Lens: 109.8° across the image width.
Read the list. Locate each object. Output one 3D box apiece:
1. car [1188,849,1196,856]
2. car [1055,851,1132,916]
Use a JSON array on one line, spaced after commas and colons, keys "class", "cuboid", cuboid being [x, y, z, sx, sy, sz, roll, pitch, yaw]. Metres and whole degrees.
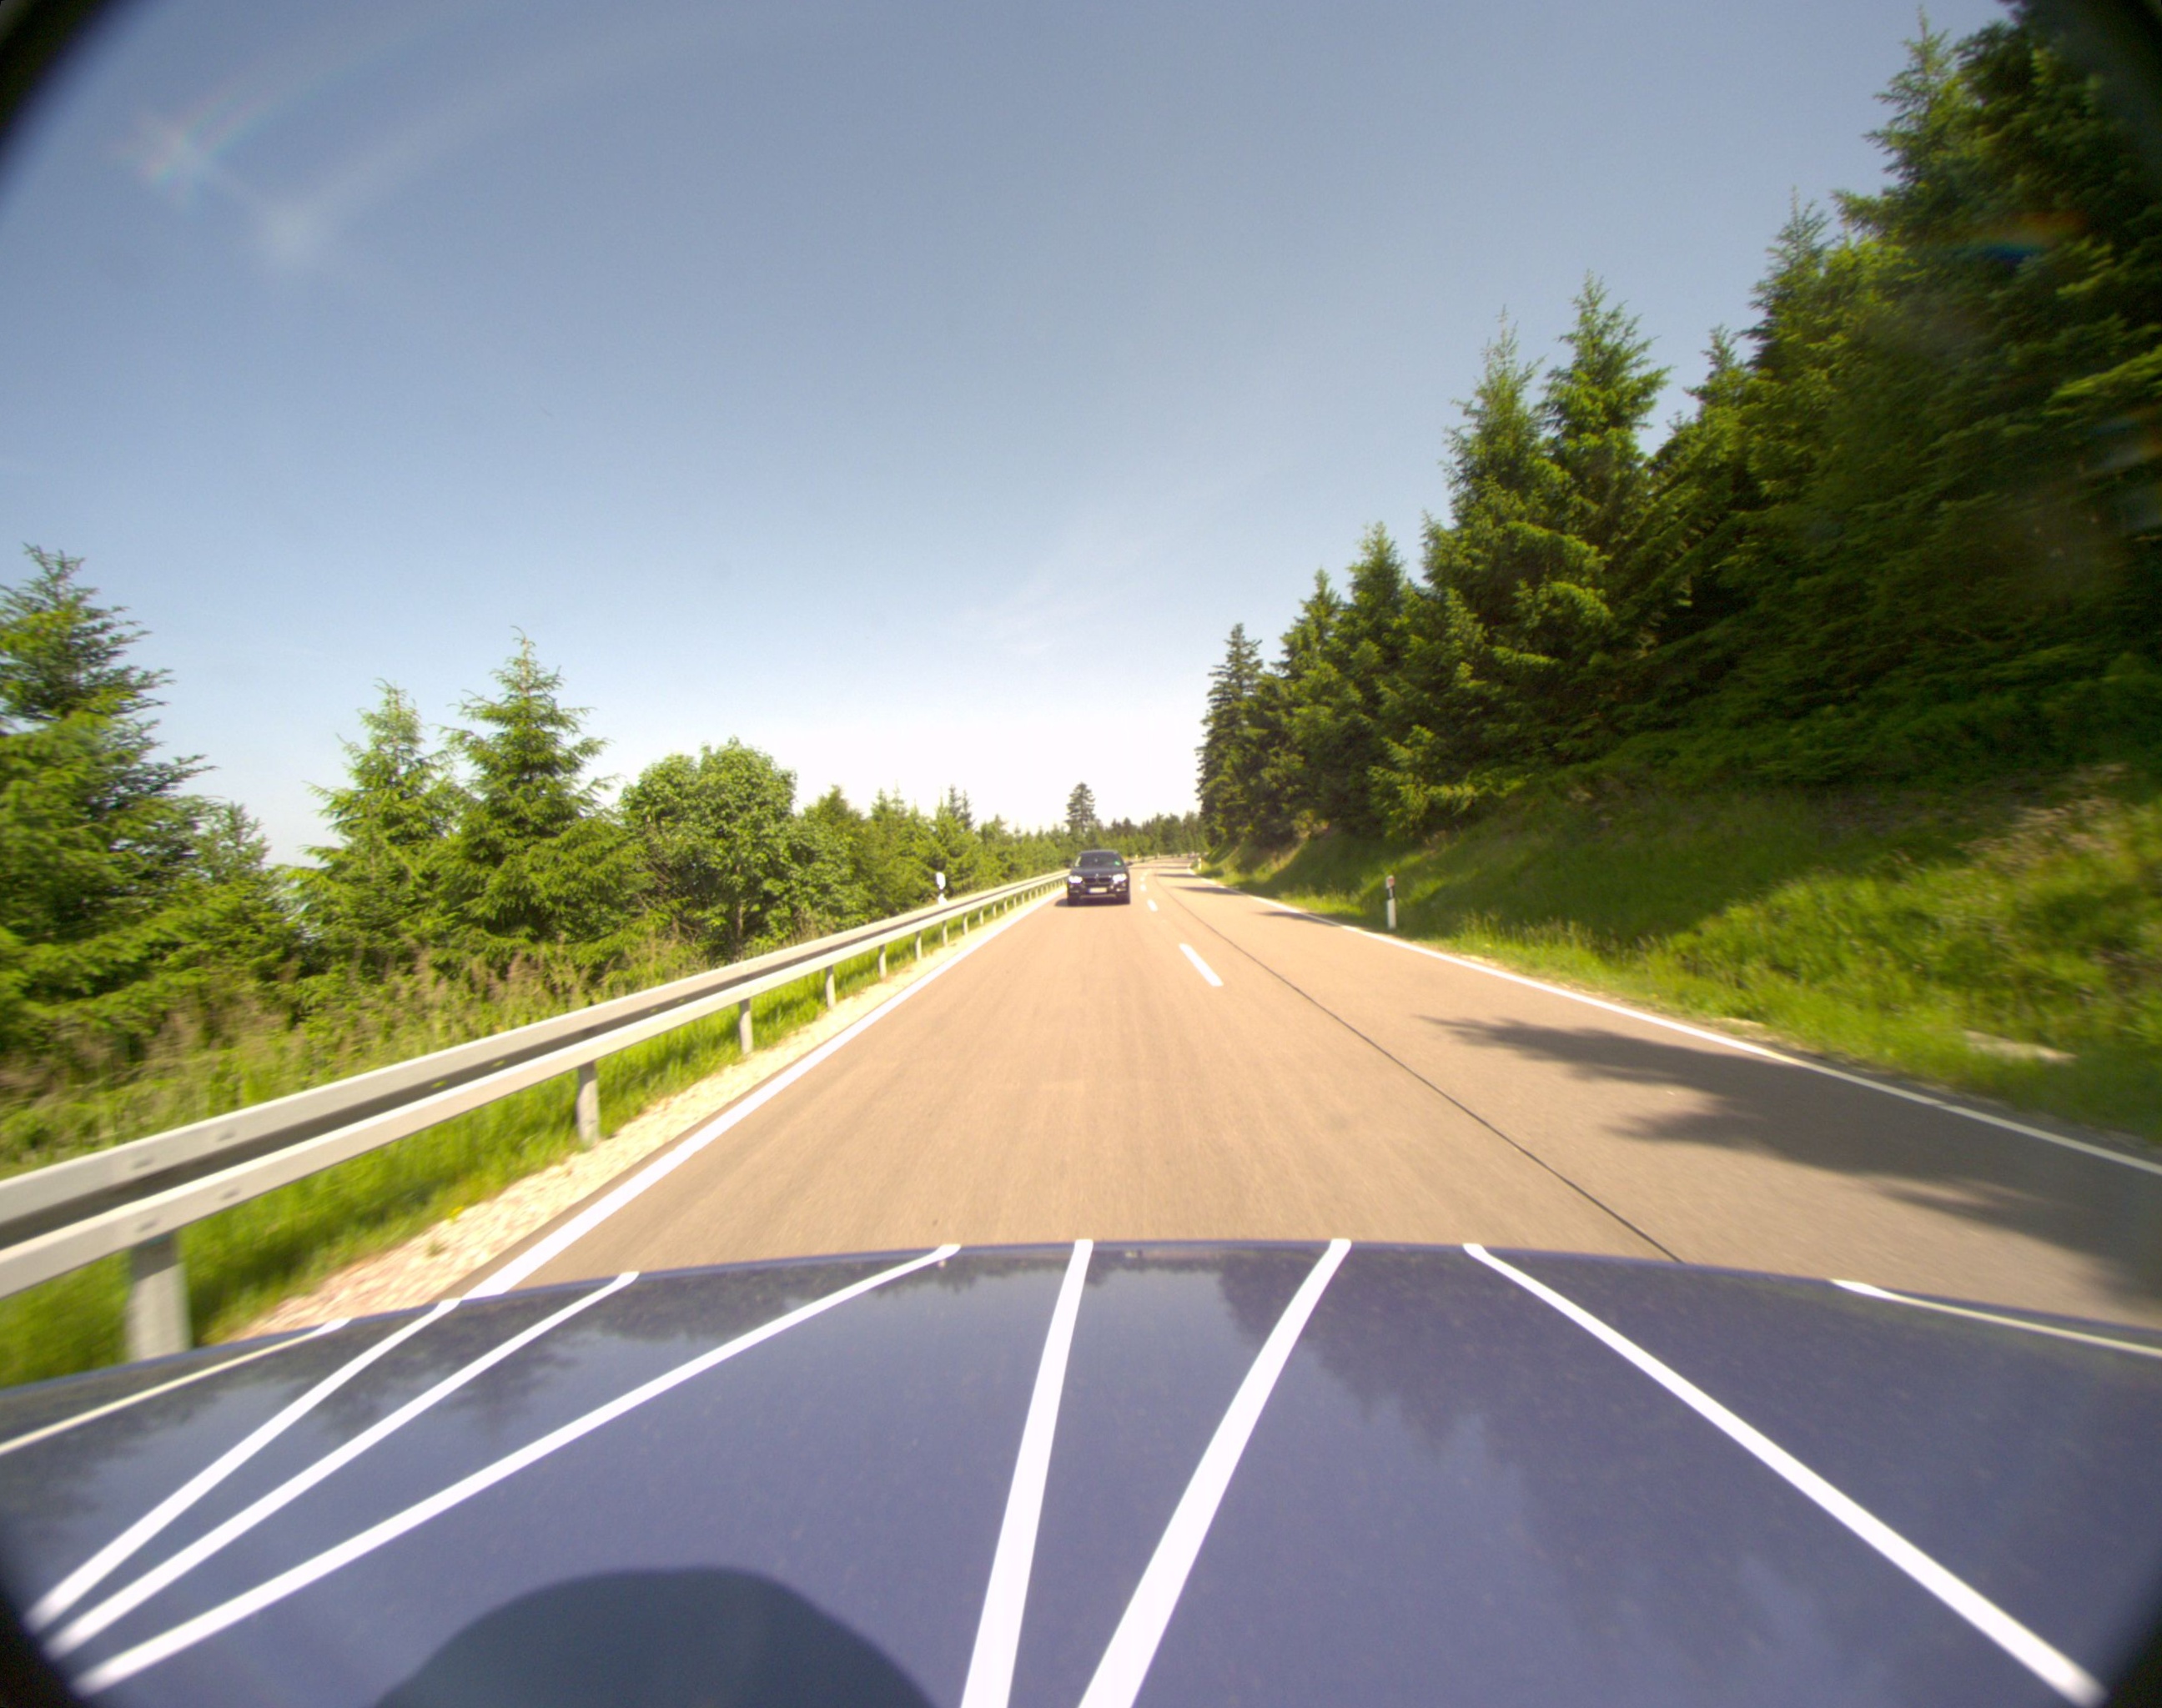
[{"class": "car", "cuboid": [25.015, -0.366, 170.896, 1.688, 1.406, 3.264, -1, 0, 6]}, {"class": "car", "cuboid": [0.491, 0.782, 23.383, 1.998, 1.676, 5.937, -2, 0, 3]}]
